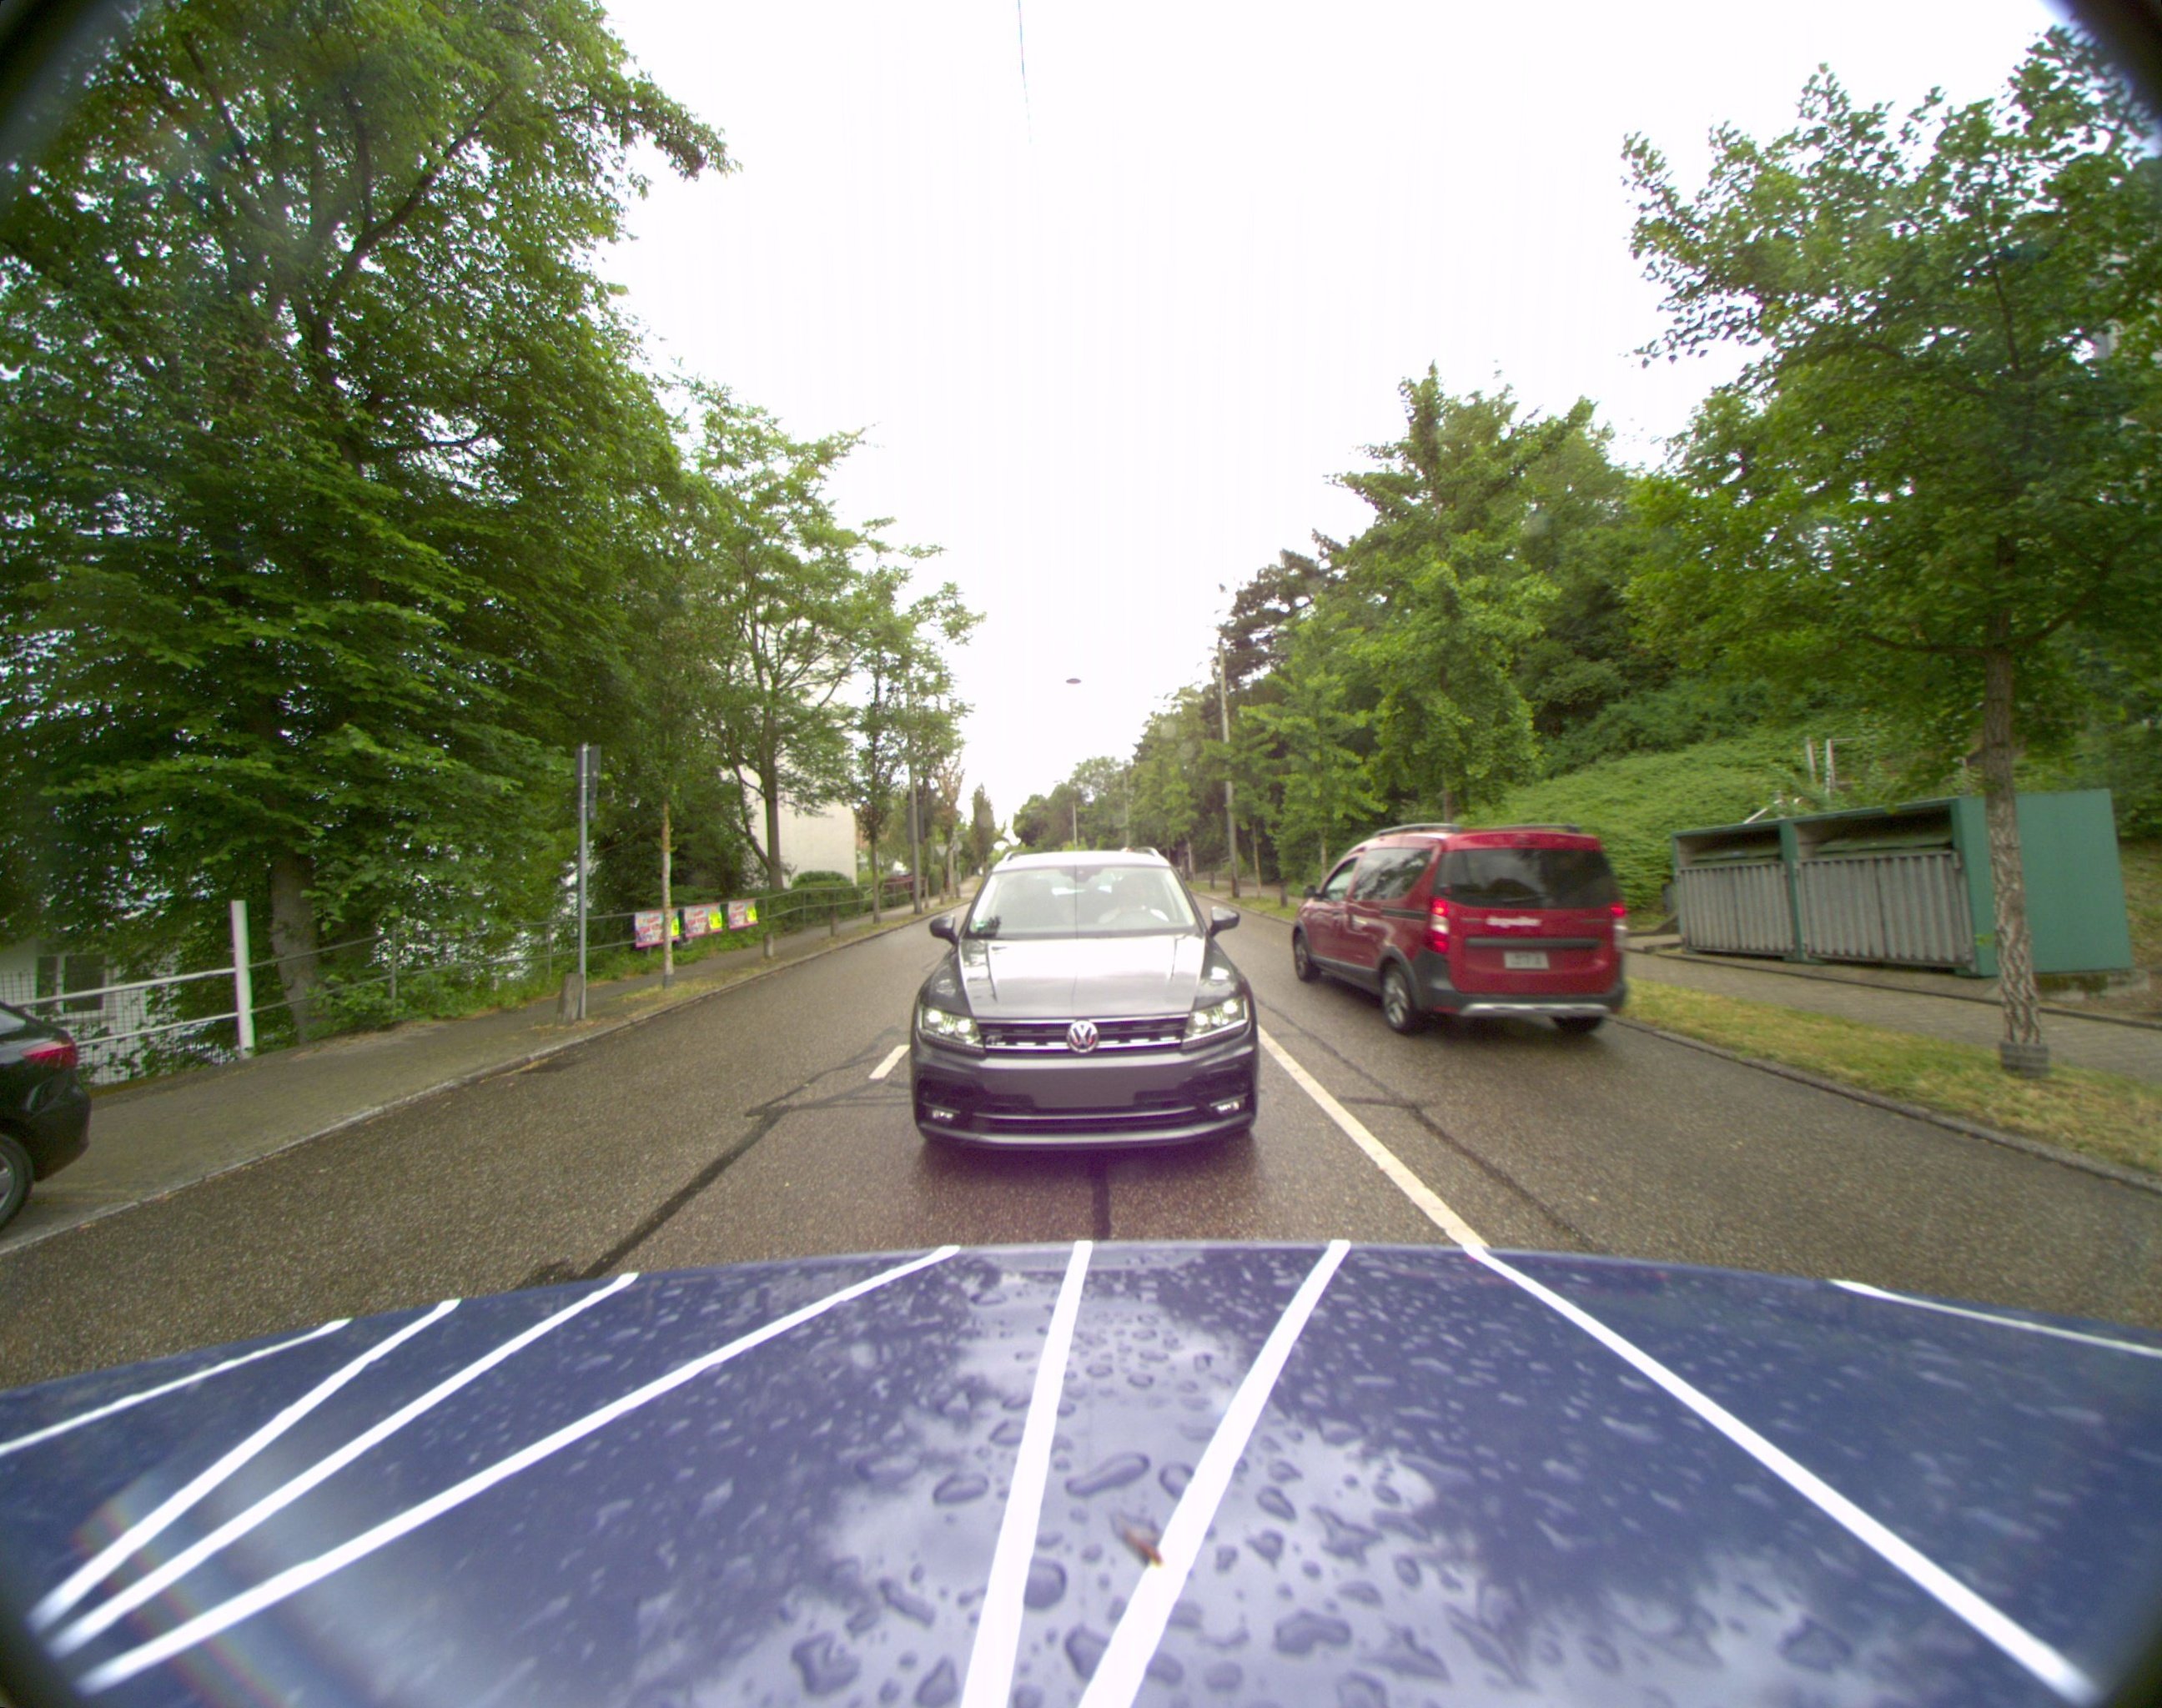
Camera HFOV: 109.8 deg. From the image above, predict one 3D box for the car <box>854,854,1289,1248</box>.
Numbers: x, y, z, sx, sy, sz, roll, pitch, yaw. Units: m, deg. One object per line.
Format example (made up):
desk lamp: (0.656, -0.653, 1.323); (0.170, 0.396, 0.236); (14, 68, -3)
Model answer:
car: (-0.009, 0.872, 5.486); (1.834, 1.608, 4.292); (-3, 1, 1)

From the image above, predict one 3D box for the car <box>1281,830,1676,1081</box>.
car: (3.491, 0.728, 7.772); (1.751, 1.817, 4.458); (-1, 1, 1)

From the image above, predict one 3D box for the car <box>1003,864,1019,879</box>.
car: (-8.624, 2.118, 93.339); (1.893, 1.710, 4.234); (-1, 1, -6)

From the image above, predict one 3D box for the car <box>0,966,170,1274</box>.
car: (-6.336, 1.384, 2.225); (1.999, 1.426, 4.442); (-1, 0, -1)

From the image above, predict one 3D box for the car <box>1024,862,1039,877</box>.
car: (-7.582, 2.319, 115.549); (1.835, 2.003, 4.055); (-3, 1, -8)

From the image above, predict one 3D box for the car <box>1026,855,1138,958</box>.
car: (0.052, 0.896, 15.127); (1.834, 1.608, 4.350); (-3, 1, 1)
